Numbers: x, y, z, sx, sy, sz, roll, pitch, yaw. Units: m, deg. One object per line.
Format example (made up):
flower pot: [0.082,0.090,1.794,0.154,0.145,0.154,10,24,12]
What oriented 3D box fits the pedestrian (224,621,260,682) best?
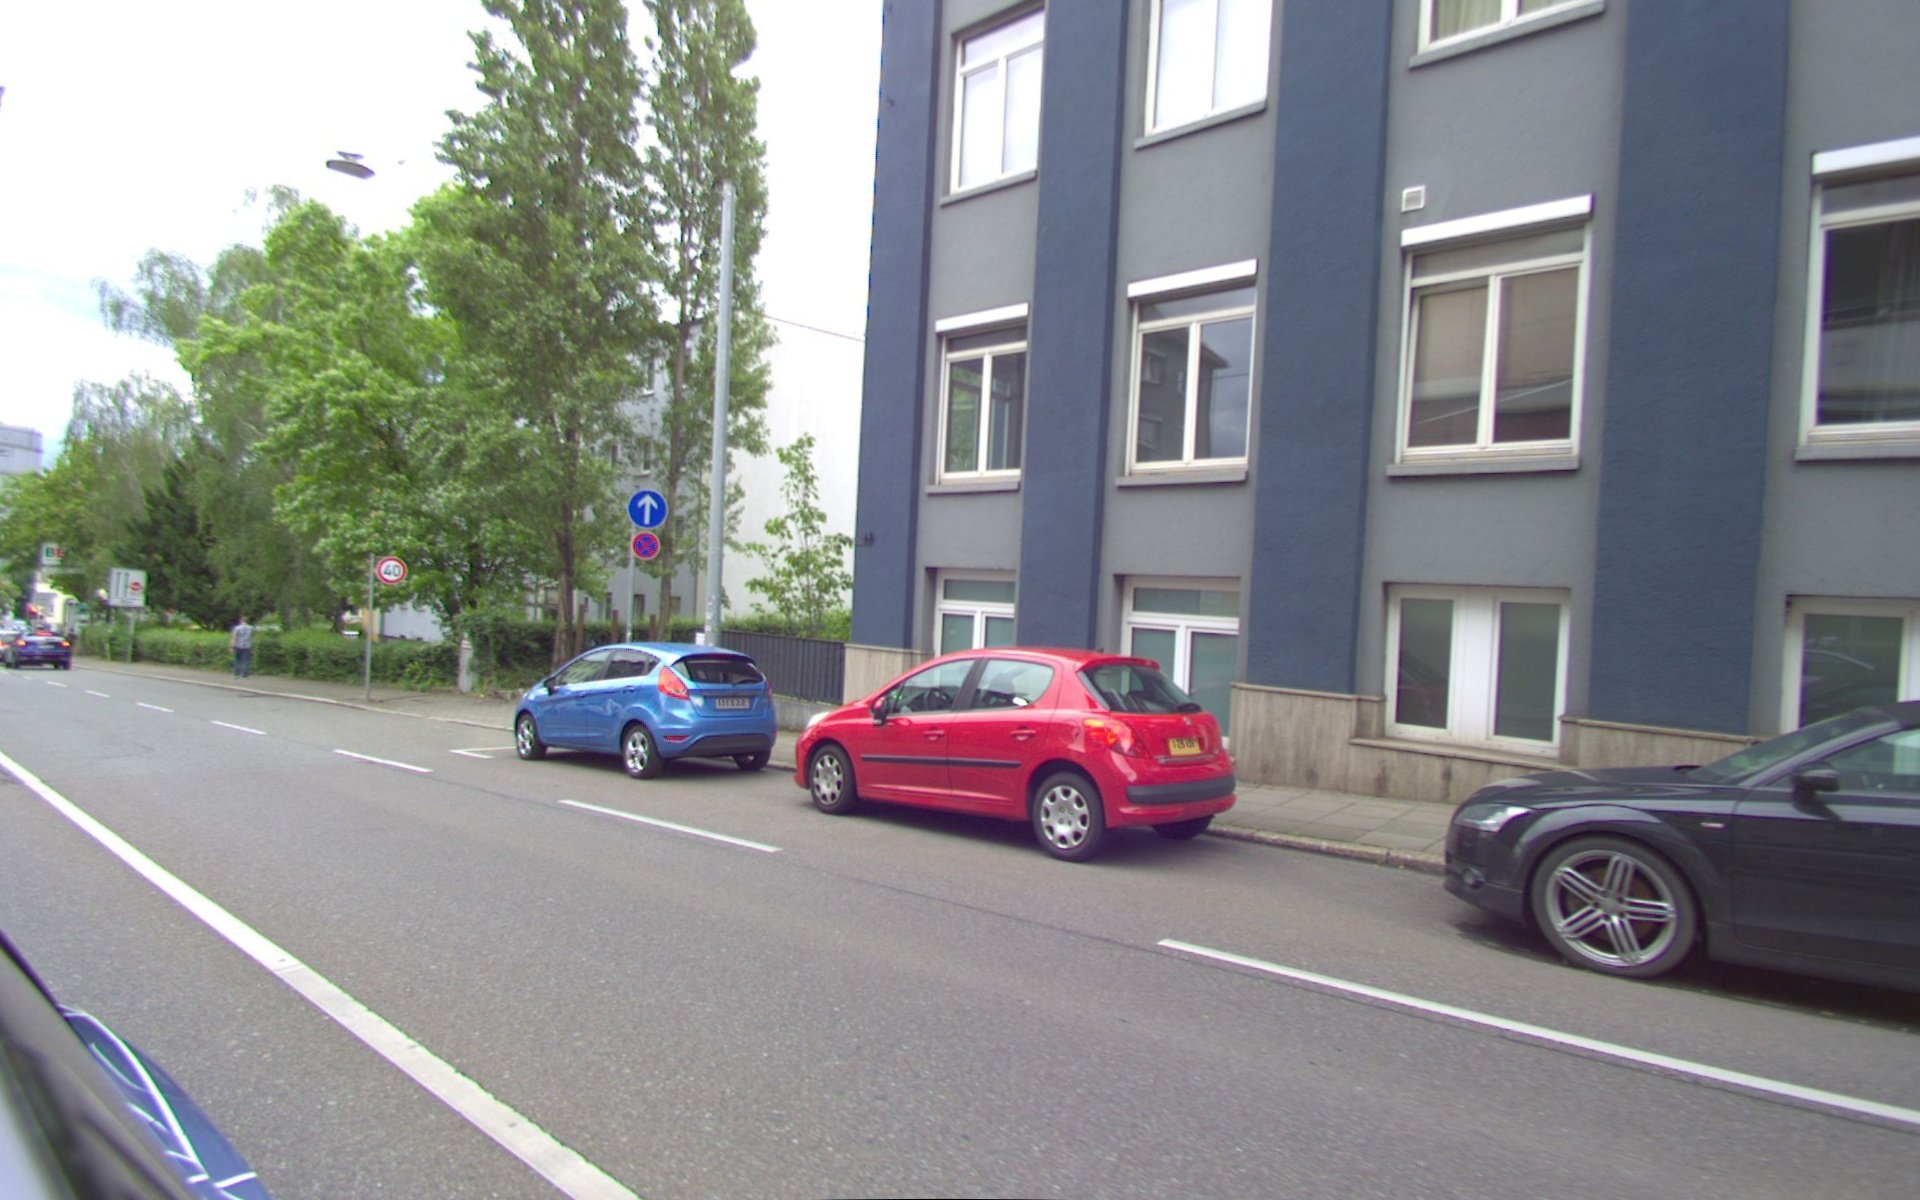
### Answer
pedestrian: [-22.115,1.572,31.160,0.776,1.864,0.736,-2,-2,42]

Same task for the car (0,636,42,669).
car: [-42.042,2.300,44.804,3.727,1.427,1.701,-2,-4,42]

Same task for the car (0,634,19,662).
car: [-51.441,2.536,53.816,3.727,1.427,1.701,-2,-4,42]

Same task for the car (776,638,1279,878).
car: [0.411,1.105,8.372,3.868,1.485,1.795,-2,-5,43]

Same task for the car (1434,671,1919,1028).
car: [4.481,1.053,4.475,4.038,1.337,1.702,-1,-5,40]

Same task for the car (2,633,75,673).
car: [-36.107,2.049,39.625,3.727,1.495,1.701,-2,-4,42]

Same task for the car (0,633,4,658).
car: [-56.413,2.577,58.233,3.727,1.427,1.701,-2,-4,42]

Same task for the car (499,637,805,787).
car: [-3.734,1.209,12.002,3.724,1.465,1.702,-1,-4,40]

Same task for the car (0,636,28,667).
car: [-47.211,2.510,49.742,3.727,1.427,1.701,-2,-4,42]
